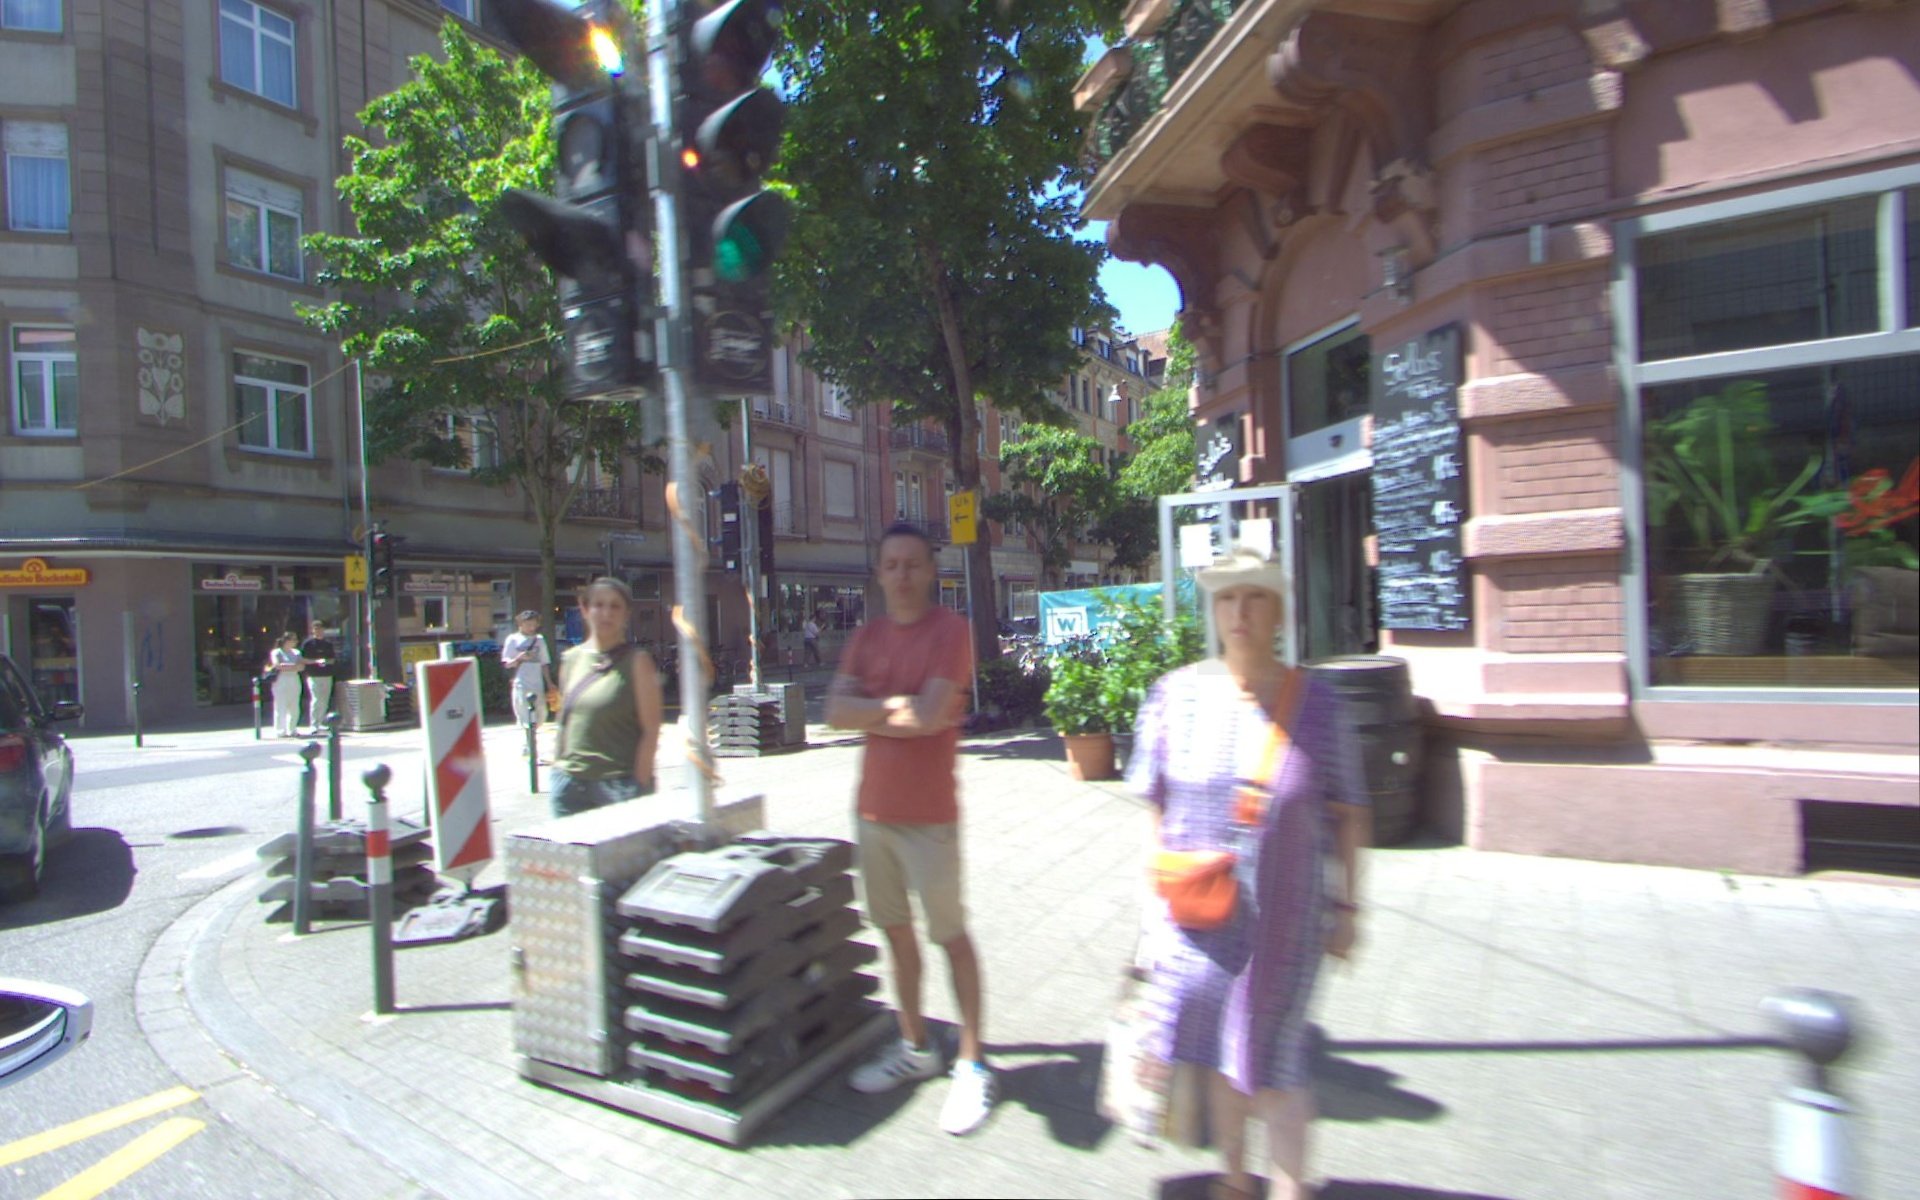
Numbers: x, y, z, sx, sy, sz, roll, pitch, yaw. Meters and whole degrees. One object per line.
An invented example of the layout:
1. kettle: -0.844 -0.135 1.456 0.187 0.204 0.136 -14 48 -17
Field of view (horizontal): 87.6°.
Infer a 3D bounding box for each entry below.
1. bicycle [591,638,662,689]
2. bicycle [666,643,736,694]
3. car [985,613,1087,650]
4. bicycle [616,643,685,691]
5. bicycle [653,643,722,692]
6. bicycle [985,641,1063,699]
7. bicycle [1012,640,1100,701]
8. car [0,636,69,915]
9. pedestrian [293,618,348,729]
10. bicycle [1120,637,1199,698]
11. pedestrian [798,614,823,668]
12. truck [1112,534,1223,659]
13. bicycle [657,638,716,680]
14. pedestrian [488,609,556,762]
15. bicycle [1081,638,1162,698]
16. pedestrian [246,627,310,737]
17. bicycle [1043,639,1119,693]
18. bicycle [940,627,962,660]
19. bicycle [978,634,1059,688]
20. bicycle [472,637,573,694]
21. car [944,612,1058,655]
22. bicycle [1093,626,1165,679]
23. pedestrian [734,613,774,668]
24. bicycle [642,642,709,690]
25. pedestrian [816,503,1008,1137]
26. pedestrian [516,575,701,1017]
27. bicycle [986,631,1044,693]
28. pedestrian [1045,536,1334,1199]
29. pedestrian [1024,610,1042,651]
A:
1. bicycle: -7.818 1.470 23.553 0.463 1.095 1.759 0 0 27
2. bicycle: -5.797 1.520 22.501 0.463 1.010 1.759 0 0 27
3. car: 3.127 1.303 41.375 3.795 1.457 1.785 -1 0 29
4. bicycle: -7.268 1.552 23.590 0.463 1.010 1.759 0 0 27
5. bicycle: -6.200 1.520 22.888 0.463 1.010 1.759 0 0 27
6. bicycle: 1.124 1.194 17.310 0.502 0.883 1.735 -2 -1 34
7. bicycle: 1.633 1.157 16.735 0.502 0.883 2.062 -2 -1 34
8. car: -6.698 0.990 6.243 1.601 1.504 3.214 1 -3 -40
9. pedestrian: -10.681 1.213 16.738 0.463 1.794 0.575 2 3 23
10. bicycle: 3.351 1.097 16.679 0.502 0.883 2.062 -2 -1 34
11. pedestrian: -4.675 1.282 31.383 0.552 1.635 0.489 -2 0 36
12. truck: 7.234 -0.084 34.603 2.256 4.006 4.454 -2 -1 32
13. bicycle: -7.312 1.568 26.877 0.497 1.010 1.722 0 0 27
14. pedestrian: -5.257 1.006 12.005 0.473 1.754 0.865 -2 -1 -40
15. bicycle: 2.765 1.125 16.938 0.502 0.883 2.062 -2 -1 34
16. pedestrian: -10.907 1.299 16.030 0.415 1.668 0.701 2 3 23
17. bicycle: 2.303 1.226 18.841 0.502 0.883 2.062 -2 -1 34
18. bicycle: -0.321 1.473 34.451 0.534 1.059 1.937 -2 -1 -6
19. bicycle: 1.125 1.125 18.832 0.502 0.883 2.062 -2 -1 34
20. bicycle: -9.711 1.434 22.286 1.965 1.147 0.512 -1 -1 -42
21. car: 1.499 1.227 36.698 3.795 1.457 1.785 -1 0 29
22. bicycle: 3.199 0.964 18.800 0.502 0.883 2.062 -2 -1 34
23. pedestrian: -6.318 1.246 30.754 0.776 1.655 0.855 -2 0 30
24. bicycle: -6.602 1.512 23.307 0.463 1.019 1.683 0 0 27
25. pedestrian: -0.140 0.595 2.935 0.396 1.697 0.331 -2 0 37
26. pedestrian: -1.369 0.710 3.909 0.473 1.580 0.458 -2 0 37
27. bicycle: 1.111 1.213 19.984 0.501 1.121 1.779 -2 -1 25
28. pedestrian: 0.547 0.653 2.335 0.431 1.564 0.491 -2 2 37
29. pedestrian: 2.883 1.188 39.480 0.535 1.604 0.476 -2 0 29
